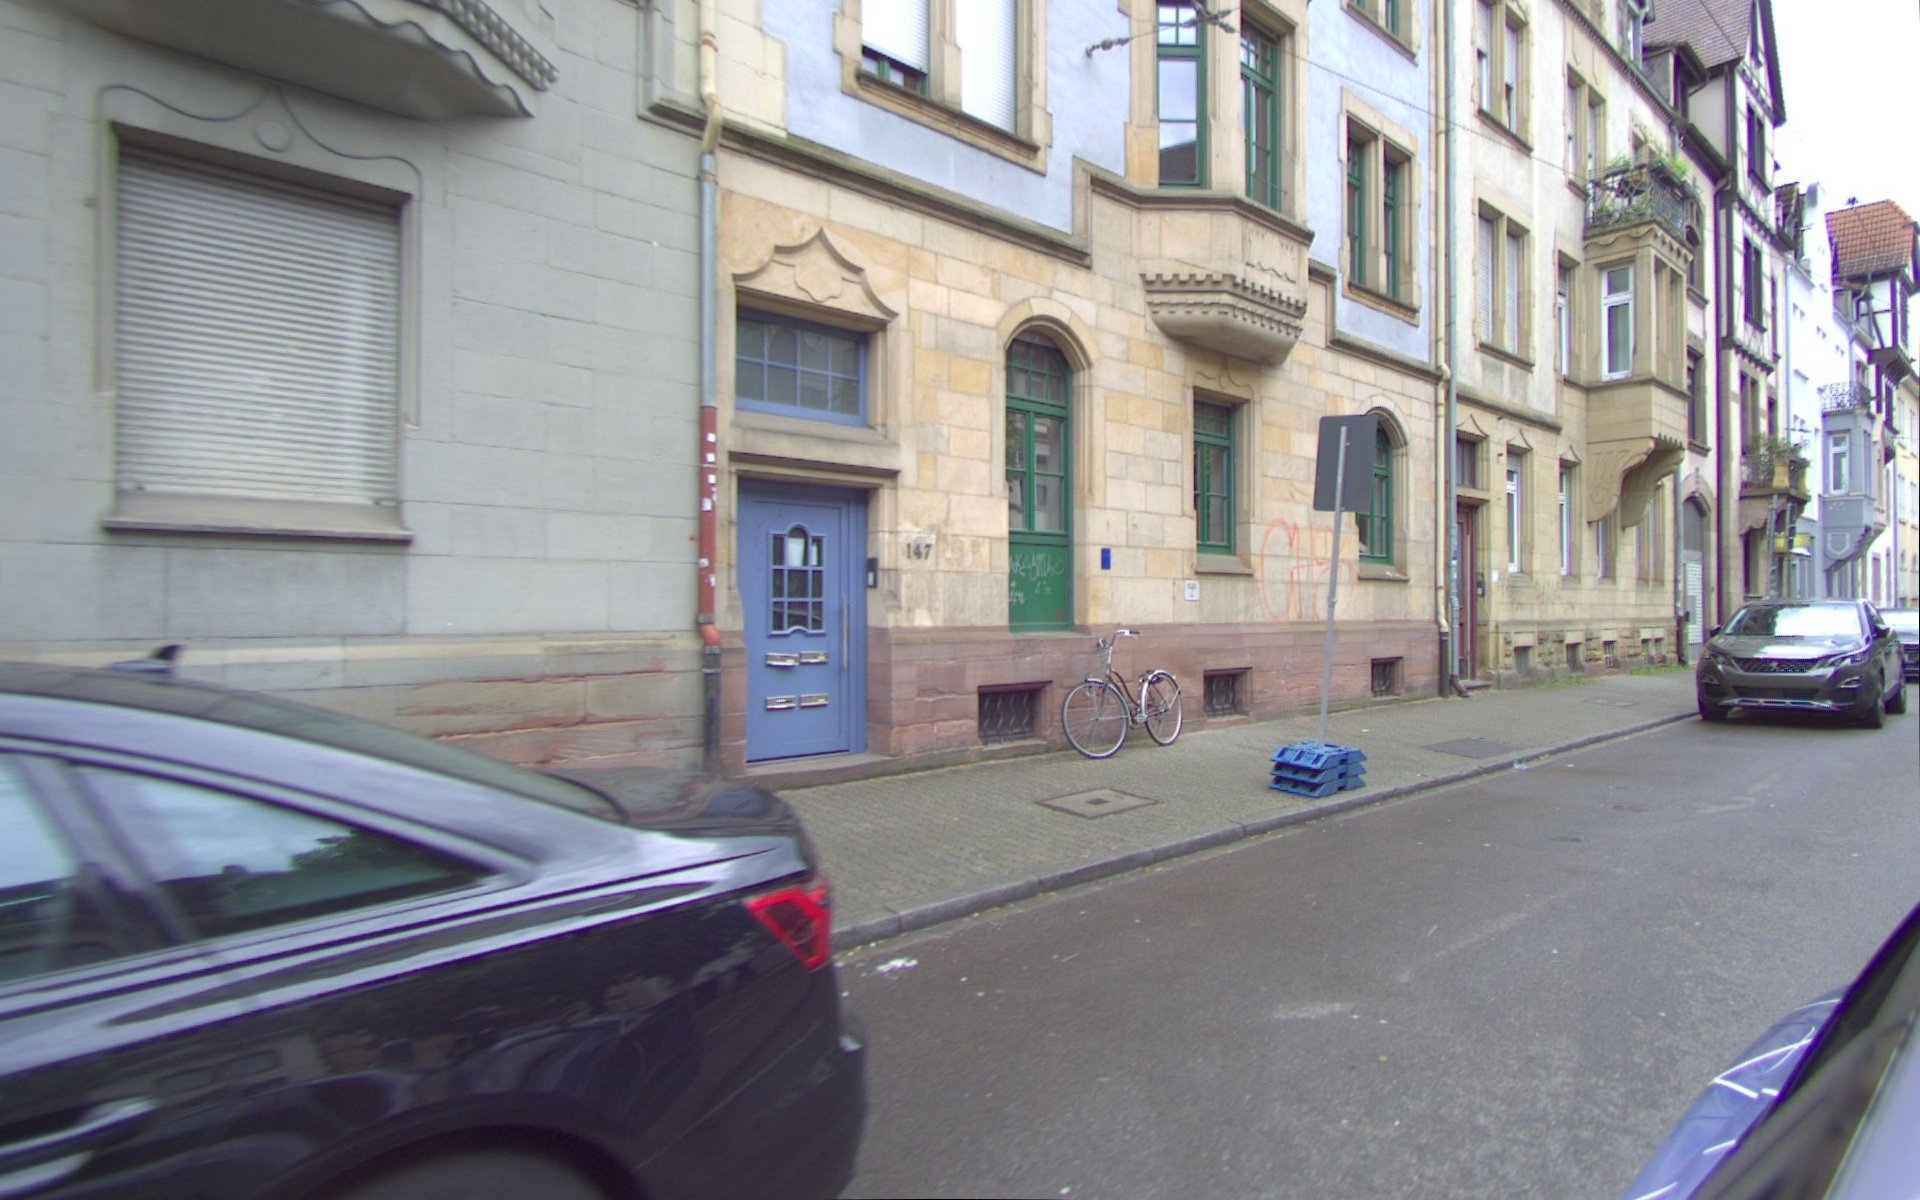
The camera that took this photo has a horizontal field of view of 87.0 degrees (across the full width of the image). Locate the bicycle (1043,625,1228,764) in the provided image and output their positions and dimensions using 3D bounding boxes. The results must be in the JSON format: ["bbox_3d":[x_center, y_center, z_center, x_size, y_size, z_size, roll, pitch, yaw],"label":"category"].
[{"bbox_3d":[1.656,0.824,9.367,1.883,1.141,0.611,0,-4,-42],"label":"bicycle"}]

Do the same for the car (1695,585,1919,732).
[{"bbox_3d":[11.454,0.669,13.509,4.614,1.643,1.761,0,-1,-42],"label":"car"}]

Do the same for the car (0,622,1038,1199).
[{"bbox_3d":[-2.332,0.785,1.192,5.105,1.456,1.803,0,-1,-41],"label":"car"}]

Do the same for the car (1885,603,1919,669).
[{"bbox_3d":[24.073,0.829,24.706,4.316,1.533,1.699,0,-4,-42],"label":"car"}]

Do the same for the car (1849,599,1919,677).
[{"bbox_3d":[20.338,0.770,21.476,4.344,1.533,1.699,0,-4,-43],"label":"car"}]
